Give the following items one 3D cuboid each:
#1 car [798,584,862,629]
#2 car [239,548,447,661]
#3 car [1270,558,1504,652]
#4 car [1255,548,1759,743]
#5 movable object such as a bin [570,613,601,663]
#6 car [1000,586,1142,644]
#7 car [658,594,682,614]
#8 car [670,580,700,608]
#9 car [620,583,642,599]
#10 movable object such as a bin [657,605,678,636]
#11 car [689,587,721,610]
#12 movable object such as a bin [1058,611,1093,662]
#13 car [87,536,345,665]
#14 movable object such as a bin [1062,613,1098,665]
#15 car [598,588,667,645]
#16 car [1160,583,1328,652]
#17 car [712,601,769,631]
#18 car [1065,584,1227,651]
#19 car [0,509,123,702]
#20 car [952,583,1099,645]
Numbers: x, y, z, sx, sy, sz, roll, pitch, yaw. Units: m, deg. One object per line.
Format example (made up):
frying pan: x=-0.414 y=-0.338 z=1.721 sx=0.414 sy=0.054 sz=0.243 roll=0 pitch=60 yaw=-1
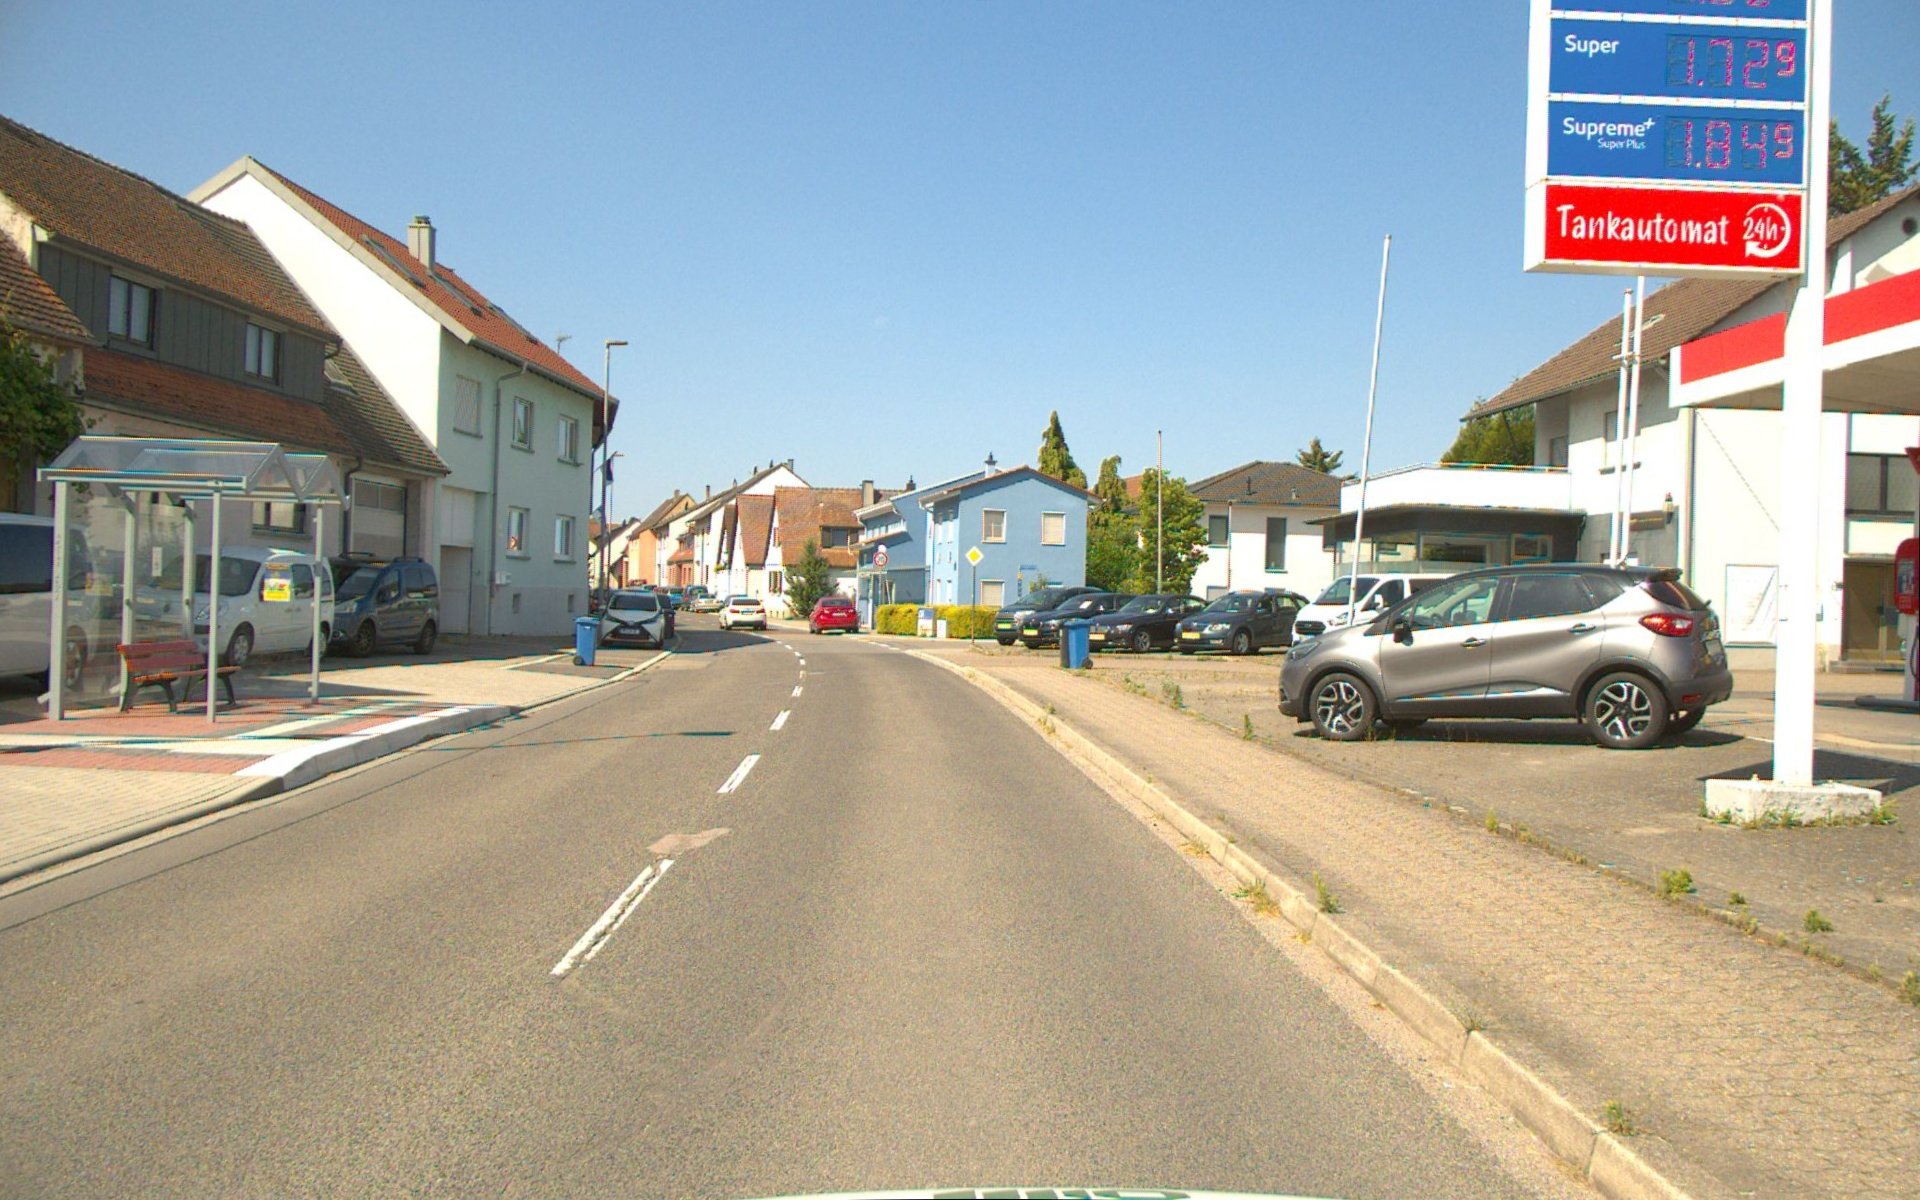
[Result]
car: x=-5.313 y=0.216 z=67.016 sx=1.705 sy=1.520 sz=4.336 roll=-1 pitch=4 yaw=-17
car: x=-11.309 y=0.077 z=30.678 sx=1.798 sy=1.824 sz=4.345 roll=3 pitch=0 yaw=5
car: x=9.917 y=0.097 z=38.310 sx=5.211 sy=2.049 sz=2.210 roll=0 pitch=0 yaw=-29
car: x=5.001 y=0.414 z=15.320 sx=4.096 sy=1.582 sz=1.769 roll=-2 pitch=-1 yaw=34
movable object such as a bin: x=-7.433 y=0.746 z=32.823 sx=0.548 sy=0.953 sz=0.513 roll=3 pitch=-1 yaw=-13
car: x=2.977 y=0.380 z=43.870 sx=1.721 sy=1.472 sz=3.848 roll=0 pitch=0 yaw=43
car: x=-22.639 y=0.300 z=128.929 sx=1.398 sy=1.542 sz=3.288 roll=2 pitch=0 yaw=-17
car: x=-19.720 y=-0.419 z=118.486 sx=1.623 sy=1.943 sz=3.608 roll=2 pitch=0 yaw=-17
car: x=-30.653 y=-0.825 z=154.263 sx=1.738 sy=1.458 sz=3.435 roll=0 pitch=0 yaw=-16
movable object such as a bin: x=-9.601 y=0.681 z=54.282 sx=0.542 sy=0.944 sz=0.822 roll=5 pitch=-1 yaw=-17
car: x=-17.577 y=-0.085 z=113.883 sx=1.678 sy=1.523 sz=3.436 roll=2 pitch=0 yaw=-17
movable object such as a bin: x=2.222 y=0.700 z=31.726 sx=0.548 sy=0.953 sz=0.513 roll=0 pitch=0 yaw=-13
car: x=-11.507 y=0.020 z=25.947 sx=1.927 sy=1.805 sz=4.278 roll=1 pitch=0 yaw=2
movable object such as a bin: x=2.255 y=0.726 z=31.187 sx=0.548 sy=0.955 sz=0.513 roll=0 pitch=0 yaw=-13
car: x=-8.950 y=0.442 z=45.376 sx=1.653 sy=1.487 sz=3.641 roll=1 pitch=0 yaw=-9
car: x=6.930 y=0.391 z=40.120 sx=4.286 sy=1.578 sz=1.952 roll=0 pitch=0 yaw=-45
car: x=-9.923 y=0.724 z=74.675 sx=1.962 sy=1.311 sz=3.981 roll=0 pitch=0 yaw=-17
car: x=4.730 y=0.399 z=41.660 sx=1.950 sy=1.593 sz=4.212 roll=0 pitch=0 yaw=43
car: x=-11.074 y=0.032 z=17.256 sx=2.083 sy=2.021 sz=5.263 roll=1 pitch=0 yaw=-2
car: x=1.879 y=0.371 z=46.434 sx=4.080 sy=1.682 sz=1.802 roll=0 pitch=0 yaw=-43
